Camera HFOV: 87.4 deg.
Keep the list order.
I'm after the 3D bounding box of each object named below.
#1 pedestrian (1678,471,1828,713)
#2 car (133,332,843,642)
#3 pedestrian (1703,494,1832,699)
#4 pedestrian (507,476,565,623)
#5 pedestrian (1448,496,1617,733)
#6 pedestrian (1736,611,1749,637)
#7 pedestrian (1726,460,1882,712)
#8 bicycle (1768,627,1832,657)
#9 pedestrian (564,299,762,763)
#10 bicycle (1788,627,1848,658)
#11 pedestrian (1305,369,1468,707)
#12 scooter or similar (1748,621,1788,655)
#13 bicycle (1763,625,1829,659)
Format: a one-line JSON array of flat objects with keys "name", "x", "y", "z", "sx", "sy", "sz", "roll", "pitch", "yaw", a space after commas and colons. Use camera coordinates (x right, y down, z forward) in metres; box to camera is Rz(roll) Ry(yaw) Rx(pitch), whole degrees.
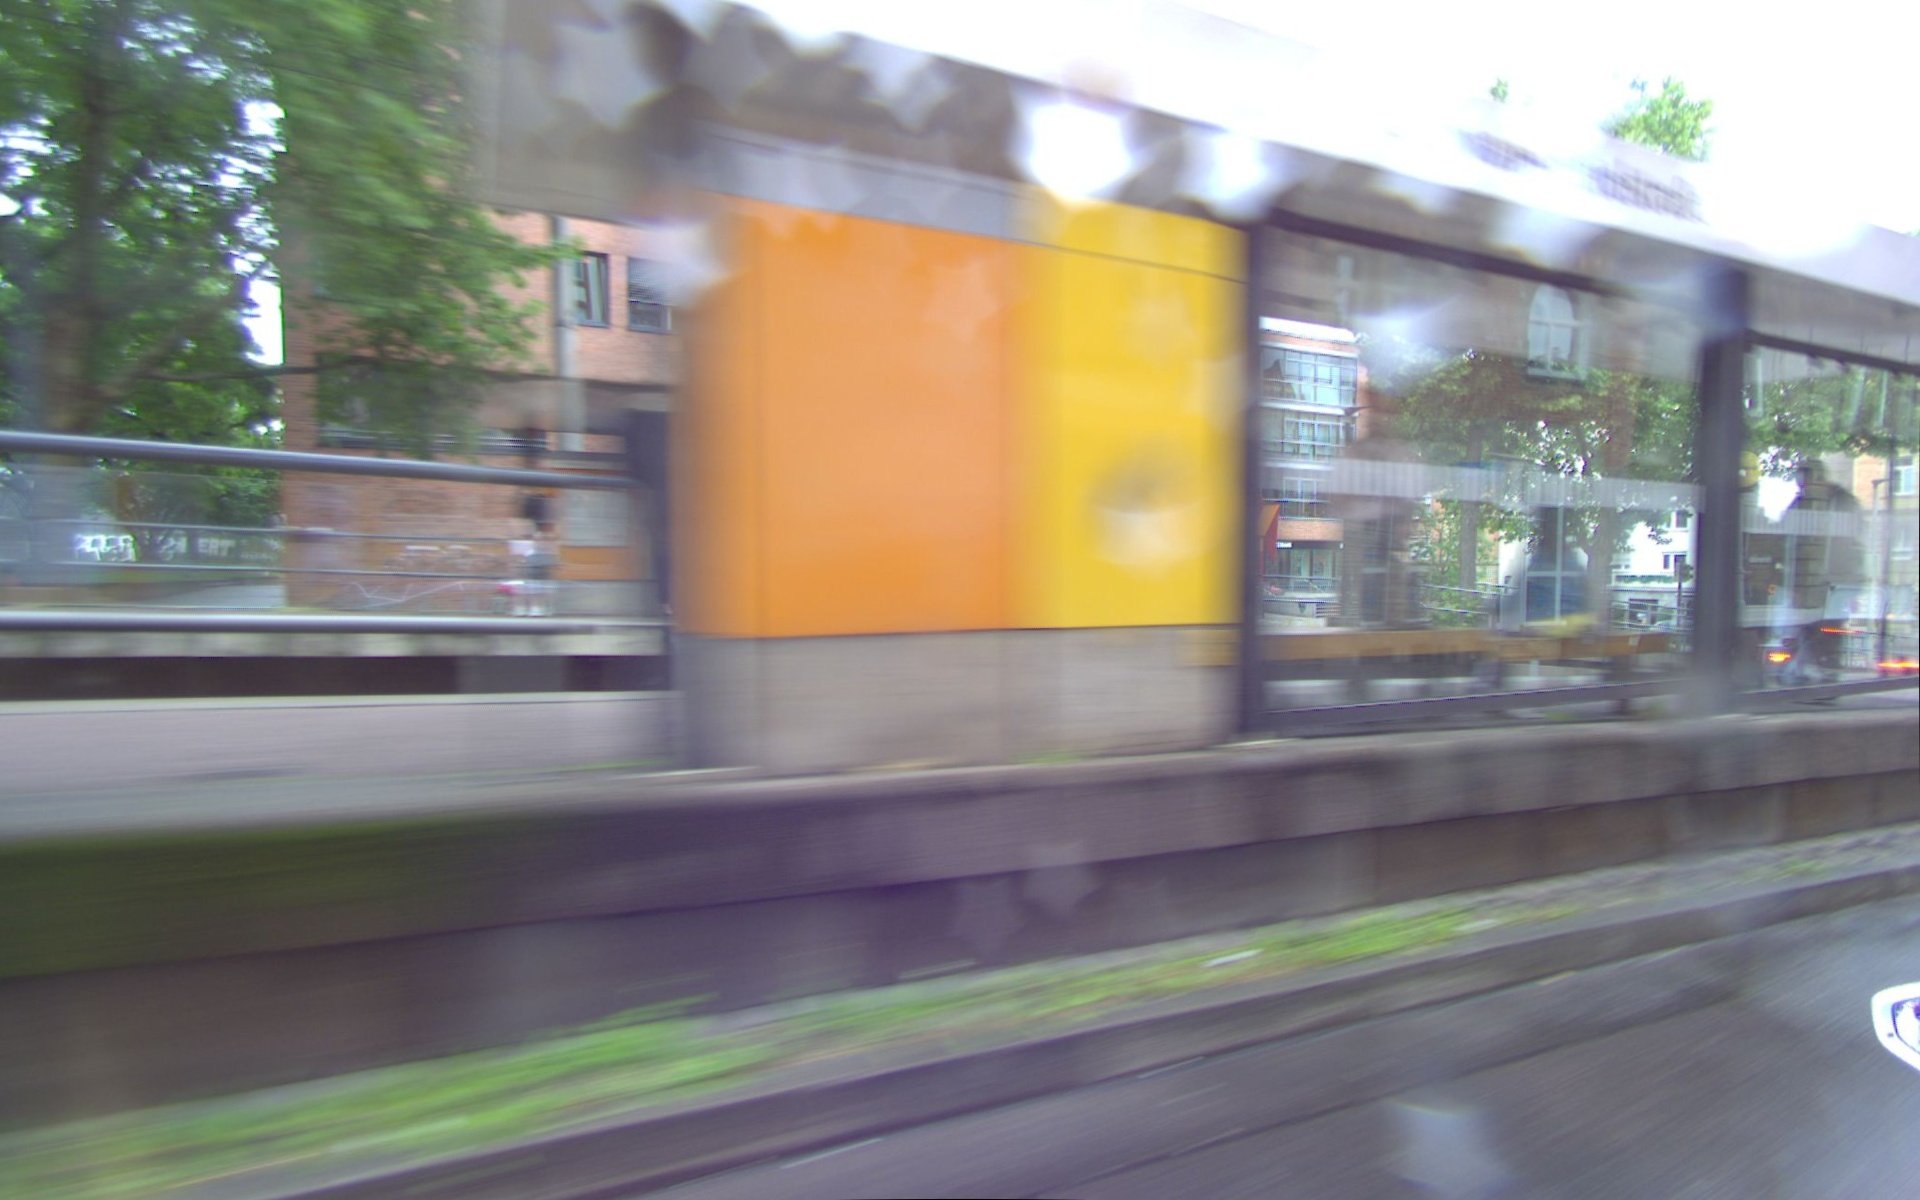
[{"name": "pedestrian", "x": 5.528, "y": -0.054, "z": 7.022, "sx": 0.500, "sy": 1.602, "sz": 0.612, "roll": 1, "pitch": 1, "yaw": -23}, {"name": "car", "x": -2.624, "y": -0.504, "z": 6.153, "sx": 3.418, "sy": 1.409, "sz": 1.686, "roll": 2, "pitch": 1, "yaw": -26}, {"name": "pedestrian", "x": 6.615, "y": -0.028, "z": 8.247, "sx": 0.500, "sy": 1.602, "sz": 0.612, "roll": 1, "pitch": 1, "yaw": -23}, {"name": "pedestrian", "x": -5.012, "y": -0.583, "z": 11.866, "sx": 0.557, "sy": 1.663, "sz": 0.683, "roll": 0, "pitch": 2, "yaw": -28}, {"name": "pedestrian", "x": 3.199, "y": 0.077, "z": 5.644, "sx": 0.500, "sy": 1.243, "sz": 0.612, "roll": 1, "pitch": 1, "yaw": -23}, {"name": "pedestrian", "x": 50.226, "y": 1.551, "z": 64.495, "sx": 0.508, "sy": 1.643, "sz": 0.486, "roll": 2, "pitch": 1, "yaw": 24}, {"name": "pedestrian", "x": 6.041, "y": -0.093, "z": 7.205, "sx": 0.579, "sy": 1.710, "sz": 0.612, "roll": 1, "pitch": 1, "yaw": -23}, {"name": "bicycle", "x": 33.095, "y": 1.650, "z": 39.585, "sx": 0.513, "sy": 1.076, "sz": 1.856, "roll": 1, "pitch": 1, "yaw": -37}, {"name": "pedestrian", "x": -1.101, "y": -0.233, "z": 3.820, "sx": 0.625, "sy": 1.626, "sz": 0.496, "roll": 2, "pitch": 1, "yaw": -10}, {"name": "bicycle", "x": 34.766, "y": 1.718, "z": 40.717, "sx": 0.513, "sy": 1.158, "sz": 1.754, "roll": 1, "pitch": 1, "yaw": -37}, {"name": "pedestrian", "x": 2.171, "y": -0.293, "z": 5.139, "sx": 0.521, "sy": 1.610, "sz": 0.504, "roll": 1, "pitch": 1, "yaw": -27}, {"name": "scooter or similar", "x": 30.594, "y": 1.435, "z": 38.026, "sx": 1.090, "sy": 1.211, "sz": 0.362, "roll": 2, "pitch": 1, "yaw": 13}, {"name": "bicycle", "x": 32.349, "y": 1.601, "z": 38.900, "sx": 0.513, "sy": 1.211, "sz": 1.857, "roll": 1, "pitch": 1, "yaw": -36}]
